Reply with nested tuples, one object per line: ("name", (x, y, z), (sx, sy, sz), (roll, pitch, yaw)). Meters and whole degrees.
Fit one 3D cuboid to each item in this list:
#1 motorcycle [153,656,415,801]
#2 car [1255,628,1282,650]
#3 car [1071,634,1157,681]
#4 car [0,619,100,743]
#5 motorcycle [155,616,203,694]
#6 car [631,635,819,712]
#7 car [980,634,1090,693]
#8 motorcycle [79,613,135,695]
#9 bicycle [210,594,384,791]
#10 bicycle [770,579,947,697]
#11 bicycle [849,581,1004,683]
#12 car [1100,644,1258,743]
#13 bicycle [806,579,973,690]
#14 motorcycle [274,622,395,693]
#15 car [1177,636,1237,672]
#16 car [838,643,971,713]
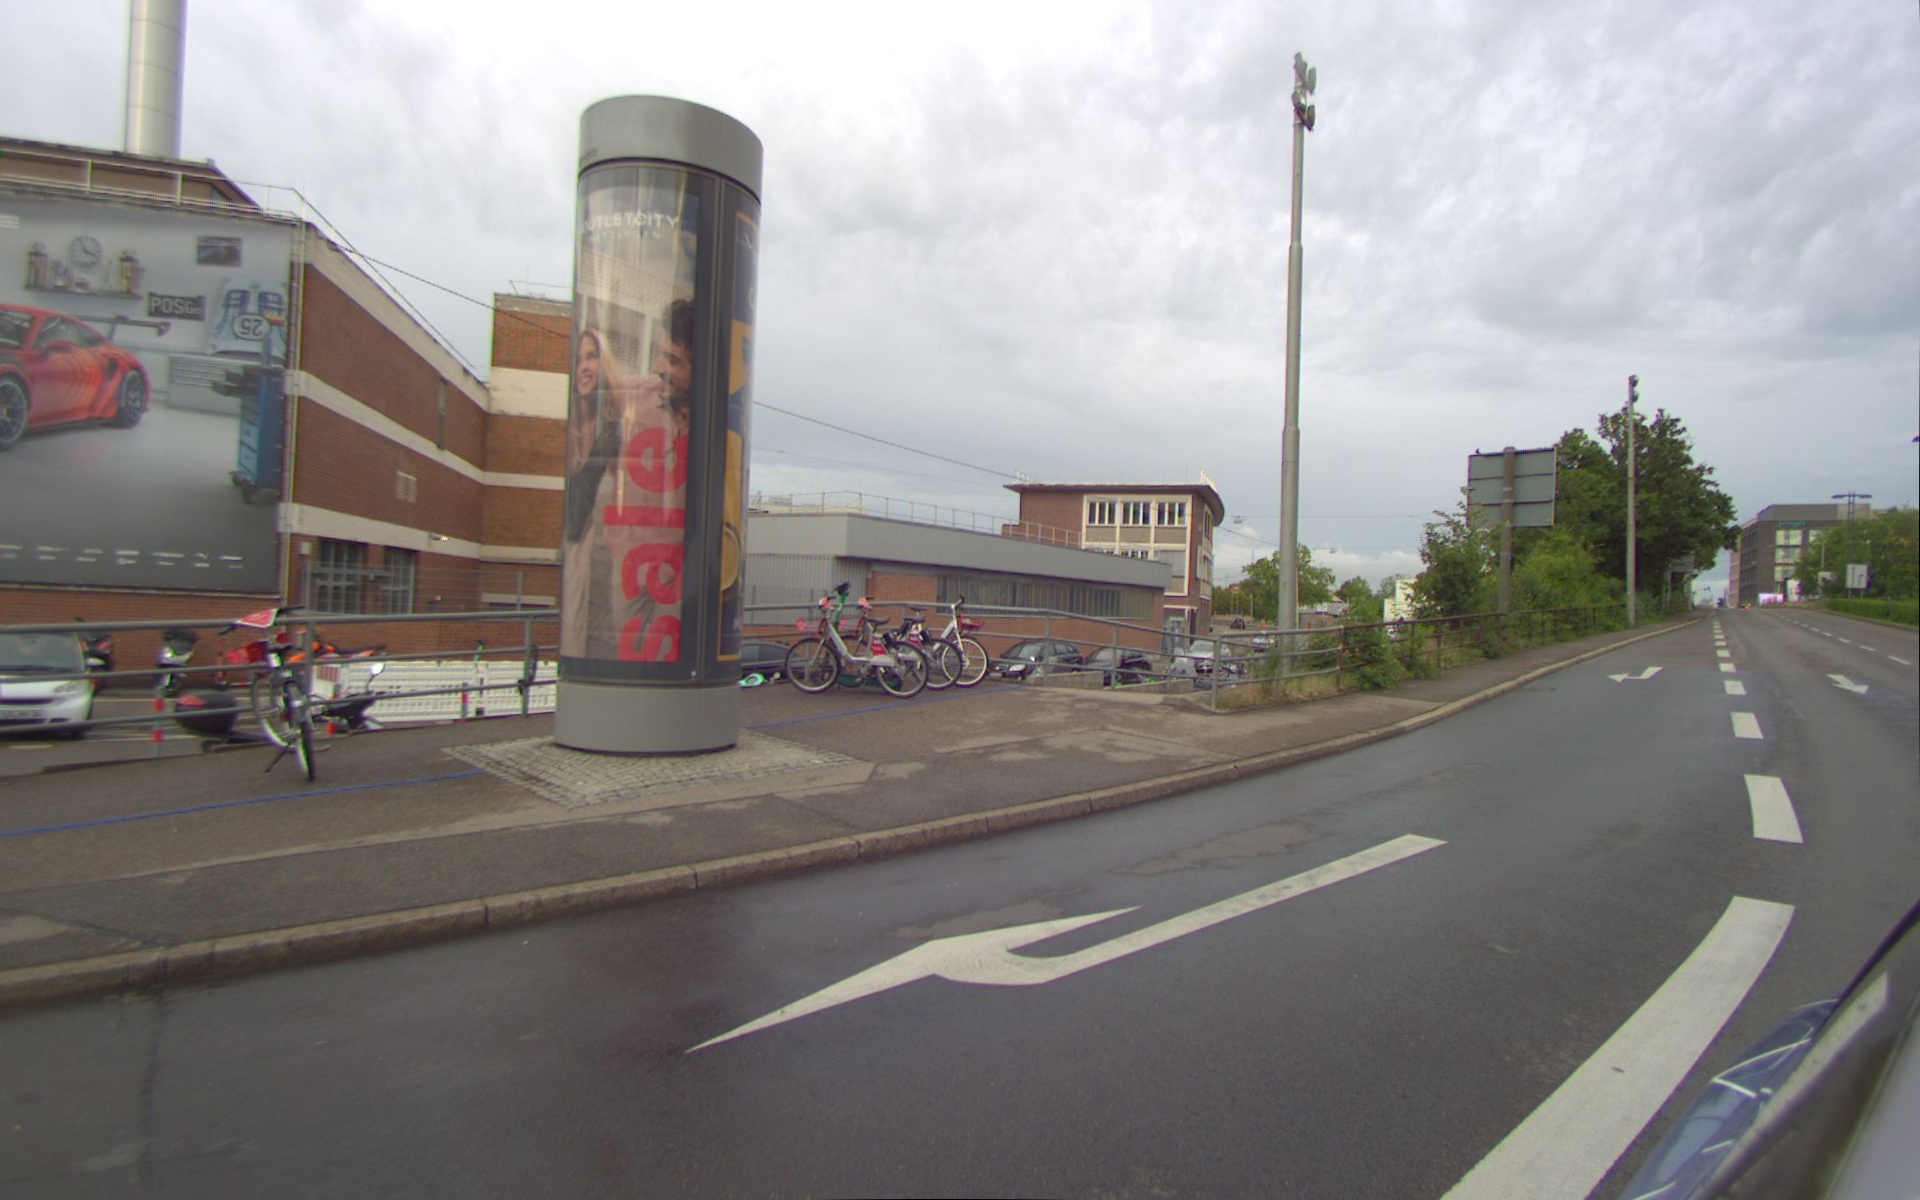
("motorcycle", (-5.717, 1.032, 8.644), (0.696, 1.002, 1.726), (1, 0, 38))
("car", (23.297, 2.918, 76.443), (1.648, 1.413, 3.971), (0, 0, 21))
("car", (6.007, 2.176, 39.181), (1.694, 1.574, 3.805), (1, 1, 37))
("car", (-13.914, 1.118, 15.008), (1.663, 1.500, 3.557), (4, -1, -40))
("motorcycle", (-15.291, 1.045, 19.841), (0.562, 1.325, 1.873), (3, 2, -34))
("car", (-5.427, 1.677, 23.886), (1.694, 1.630, 4.204), (-1, -3, 37))
("car", (2.613, 2.084, 34.225), (1.629, 1.652, 4.371), (1, 1, 37))
("motorcycle", (-16.110, 0.985, 19.146), (0.675, 1.325, 2.022), (3, 2, -38))
("bicycle", (-4.761, 0.581, 7.219), (1.799, 1.176, 0.583), (3, 2, 41))
("bicycle", (-1.144, 0.403, 11.494), (1.901, 1.239, 0.598), (2, 1, 10))
("bicycle", (-0.437, 0.374, 12.970), (1.910, 1.192, 0.595), (2, 1, 23))
("car", (4.499, 1.789, 20.412), (1.694, 1.574, 3.805), (1, 1, 37))
("bicycle", (-0.837, 0.387, 12.134), (1.900, 1.239, 0.598), (1, 1, 8))
("motorcycle", (-12.866, 1.183, 20.900), (1.943, 1.325, 0.932), (3, 1, -24))
("car", (12.382, 2.652, 50.585), (1.692, 1.574, 3.809), (1, 1, 35))
("car", (-1.519, 2.152, 28.912), (1.694, 1.648, 3.878), (1, 1, 37))
